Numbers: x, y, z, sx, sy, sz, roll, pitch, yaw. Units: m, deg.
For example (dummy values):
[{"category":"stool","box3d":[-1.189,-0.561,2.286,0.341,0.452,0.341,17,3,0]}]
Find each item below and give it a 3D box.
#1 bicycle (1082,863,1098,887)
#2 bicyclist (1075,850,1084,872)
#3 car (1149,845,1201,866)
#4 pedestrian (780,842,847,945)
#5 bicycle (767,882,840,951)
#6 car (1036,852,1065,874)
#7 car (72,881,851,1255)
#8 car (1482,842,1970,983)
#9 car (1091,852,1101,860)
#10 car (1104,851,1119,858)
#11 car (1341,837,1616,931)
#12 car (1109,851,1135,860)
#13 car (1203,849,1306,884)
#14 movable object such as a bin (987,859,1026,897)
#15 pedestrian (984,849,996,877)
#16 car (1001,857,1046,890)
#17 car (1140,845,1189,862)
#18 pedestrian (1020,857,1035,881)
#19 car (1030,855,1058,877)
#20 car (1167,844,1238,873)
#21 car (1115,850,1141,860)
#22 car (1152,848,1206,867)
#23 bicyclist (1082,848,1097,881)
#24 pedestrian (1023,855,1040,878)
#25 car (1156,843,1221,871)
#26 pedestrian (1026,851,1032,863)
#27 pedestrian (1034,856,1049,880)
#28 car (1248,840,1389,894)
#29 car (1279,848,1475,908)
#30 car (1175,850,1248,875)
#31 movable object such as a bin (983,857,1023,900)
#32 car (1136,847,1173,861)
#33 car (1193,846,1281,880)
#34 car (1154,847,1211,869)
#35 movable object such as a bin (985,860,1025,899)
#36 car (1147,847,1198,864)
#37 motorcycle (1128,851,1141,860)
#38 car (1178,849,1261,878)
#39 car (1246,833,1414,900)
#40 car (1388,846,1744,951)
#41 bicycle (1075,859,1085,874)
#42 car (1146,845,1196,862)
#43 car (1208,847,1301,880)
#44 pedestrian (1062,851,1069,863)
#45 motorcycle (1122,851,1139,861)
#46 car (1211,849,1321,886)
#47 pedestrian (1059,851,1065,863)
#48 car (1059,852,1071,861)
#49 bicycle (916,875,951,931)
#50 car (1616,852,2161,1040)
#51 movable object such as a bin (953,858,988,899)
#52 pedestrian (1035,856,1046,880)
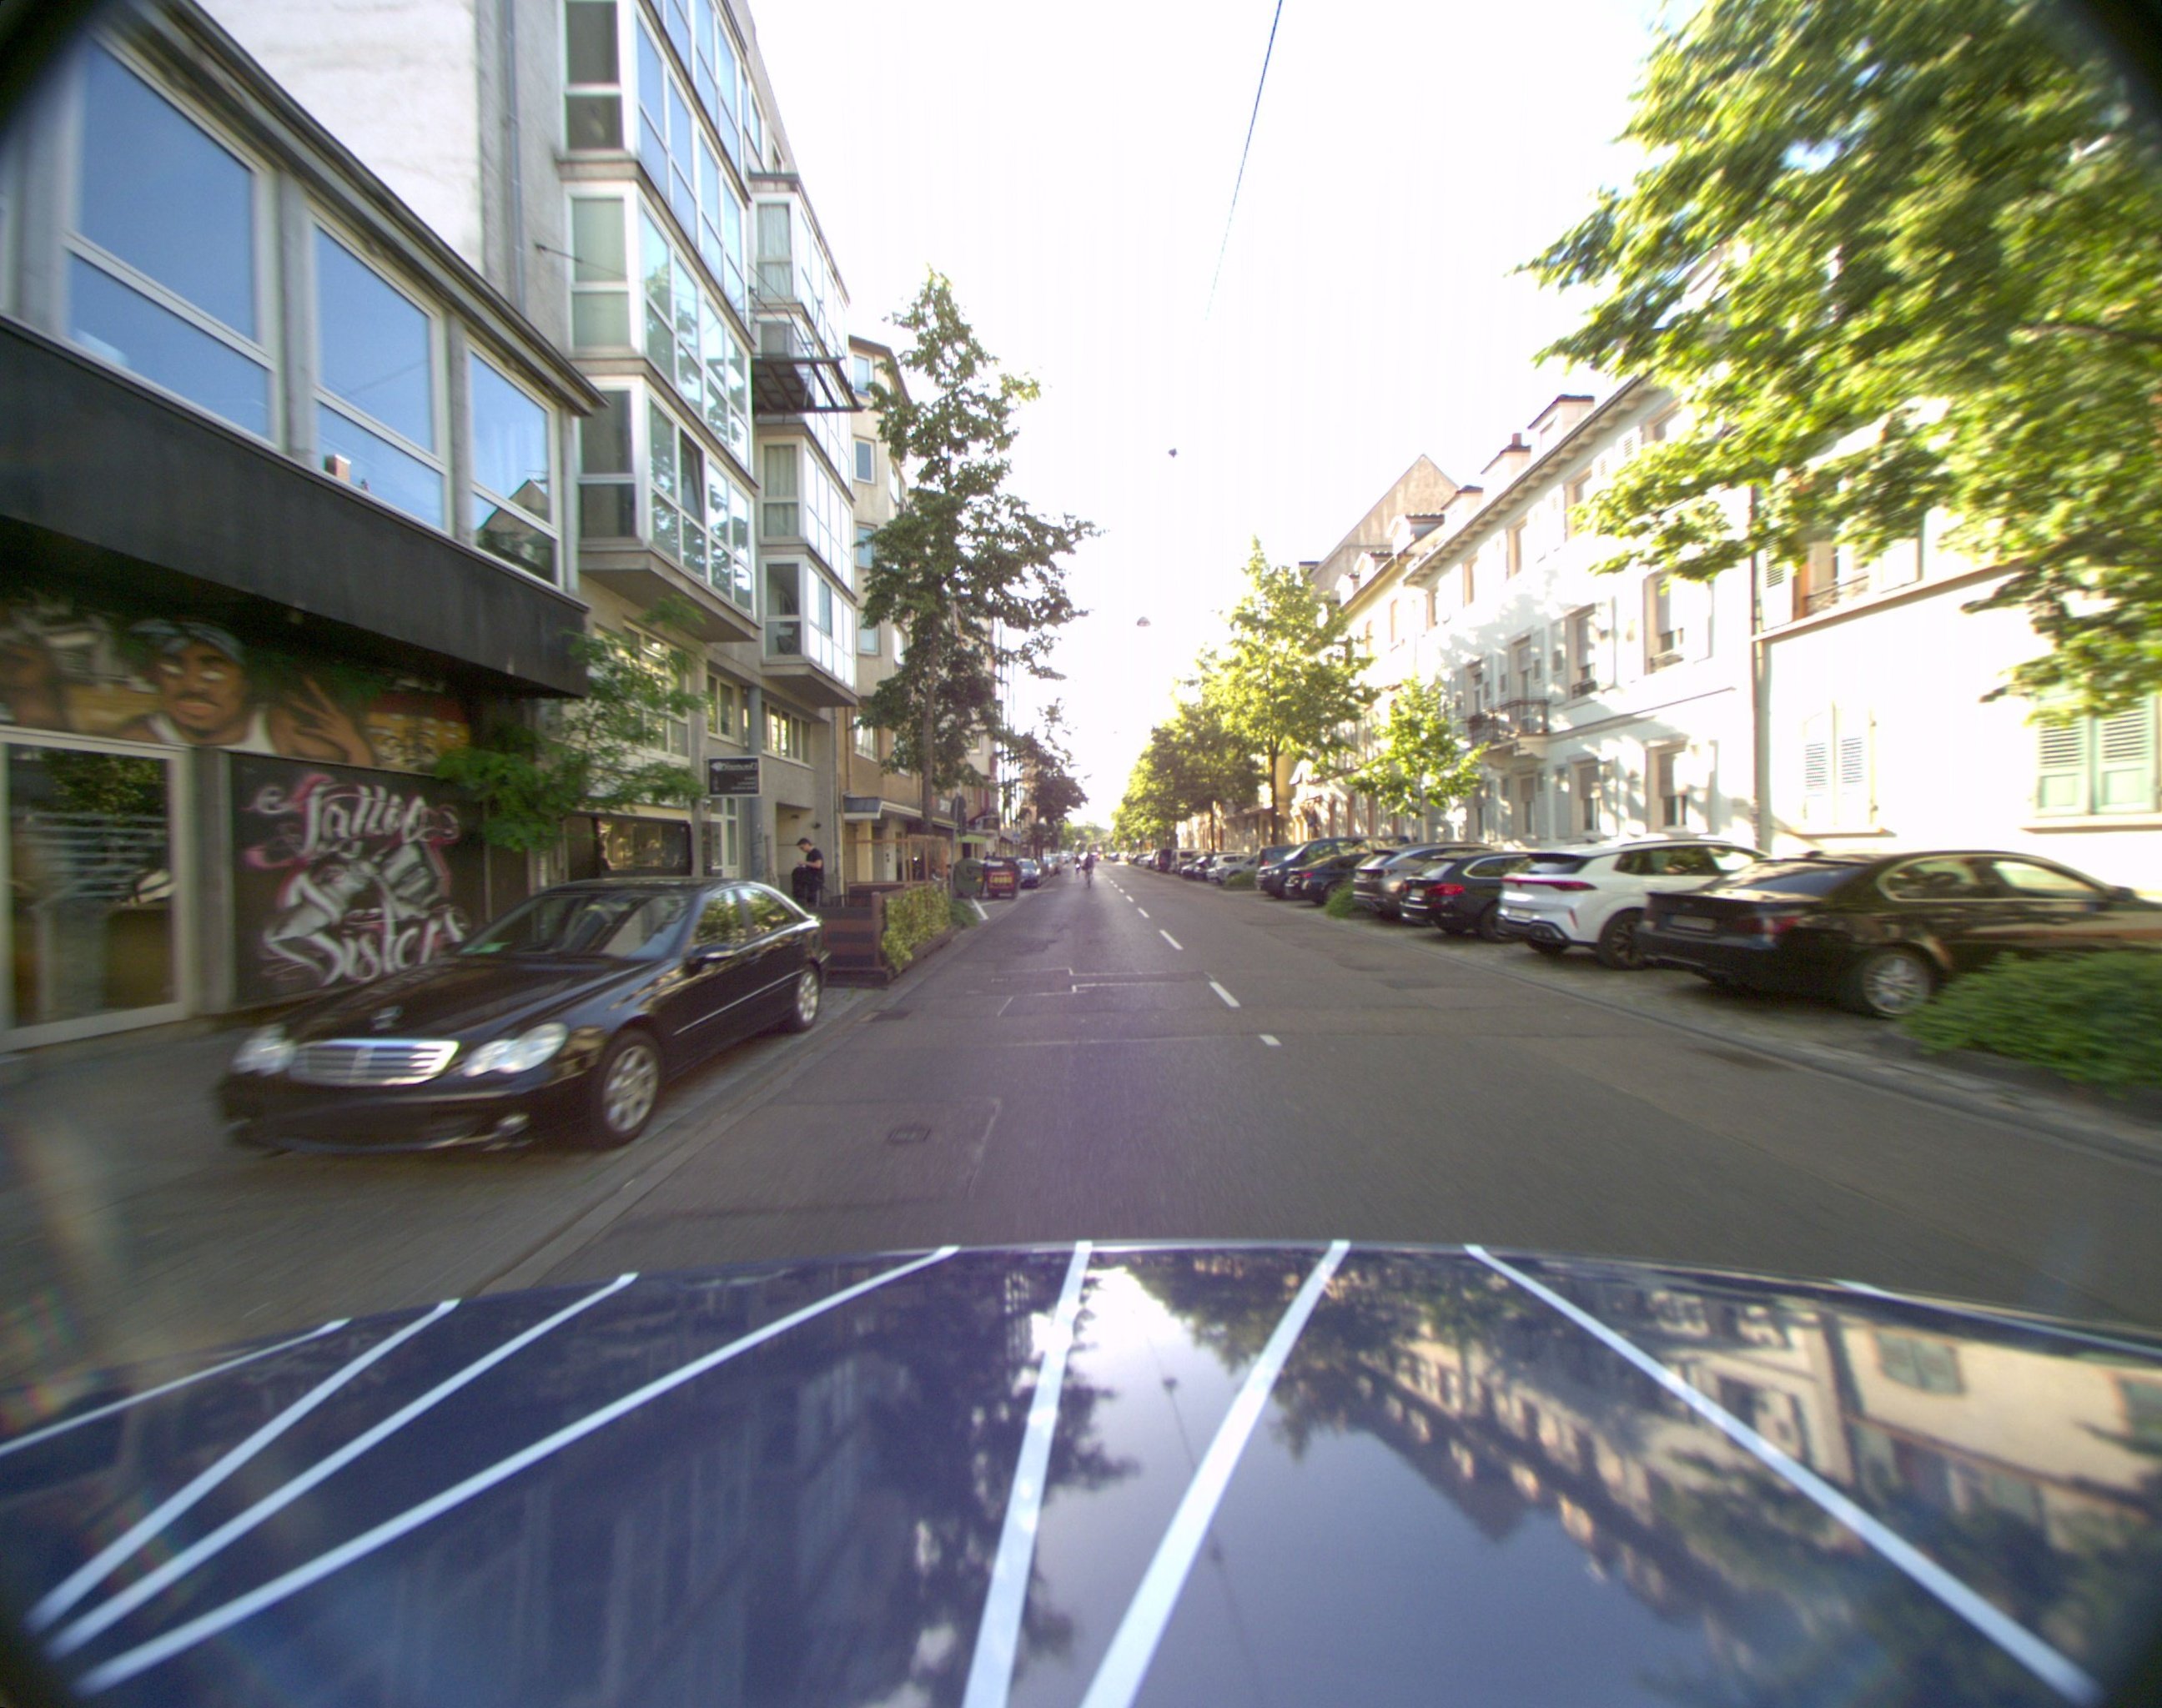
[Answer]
[{"category":"bicycle","box3d":[0.451,1.013,37.770,0.718,1.105,2.269,-1,1,1]},{"category":"bicyclist","box3d":[-0.106,0.502,56.500,0.658,1.562,0.909,-1,1,1]},{"category":"car","box3d":[8.597,0.098,69.593,4.352,1.813,1.929,-1,1,-6]},{"category":"pedestrian","box3d":[-5.192,0.740,14.761,0.925,1.924,0.762,0,1,26]},{"category":"bicycle","box3d":[-5.139,1.118,14.012,0.683,1.142,1.680,-1,1,-41]},{"category":"car","box3d":[-2.563,0.756,64.659,1.826,1.767,4.932,2,0,4]},{"category":"car","box3d":[-3.368,1.007,5.587,1.905,1.404,4.646,1,0,0]},{"category":"car","box3d":[8.008,0.688,9.802,4.691,1.563,1.808,-1,1,2]},{"category":"car","box3d":[2.906,0.351,146.029,1.915,1.536,4.352,-1,2,1]},{"category":"car","box3d":[6.219,0.083,153.890,1.771,1.421,4.005,-1,0,20]},{"category":"car","box3d":[7.989,0.569,15.534,4.693,1.702,1.807,-1,1,-2]},{"category":"car","box3d":[7.150,0.221,132.835,4.006,1.433,1.995,-2,1,-31]},{"category":"car","box3d":[8.278,0.583,36.482,4.477,1.532,1.916,-1,1,0]},{"category":"movable object such as a bin","box3d":[-2.948,0.937,30.314,1.402,1.445,1.146,0,0,1]},{"category":"pedestrian","box3d":[-5.675,0.555,47.498,0.630,1.686,0.504,0,1,3]},{"category":"car","box3d":[-2.879,0.950,38.875,1.826,1.463,4.911,2,0,1]},{"category":"car","box3d":[8.670,-0.071,79.185,4.713,1.484,1.999,-2,2,-4]},{"category":"pedestrian","box3d":[-3.374,0.928,47.659,0.712,1.527,0.770,0,1,15]},{"category":"car","box3d":[-2.815,0.886,58.299,1.826,1.587,4.841,2,0,1]},{"category":"car","box3d":[8.262,0.266,51.799,4.354,1.823,1.915,-1,1,-9]},{"category":"car","box3d":[8.041,0.160,130.612,4.006,1.553,1.995,-2,1,-31]},{"category":"car","box3d":[8.624,0.269,67.111,4.353,1.535,1.915,-1,1,-7]},{"category":"bicyclist","box3d":[0.422,0.503,37.258,0.718,1.553,0.864,-1,1,1]},{"category":"pedestrian","box3d":[-3.369,0.866,51.891,1.058,1.527,0.892,0,1,5]},{"category":"car","box3d":[7.993,0.210,56.831,4.584,1.915,1.930,-1,1,3]},{"category":"pedestrian","box3d":[-7.358,0.418,107.384,0.618,1.683,0.717,-1,2,28]},{"category":"pedestrian","box3d":[-2.525,0.890,48.859,0.750,1.527,0.808,0,1,15]},{"category":"car","box3d":[8.462,0.454,27.334,4.477,1.762,1.917,-1,1,2]},{"category":"car","box3d":[7.939,0.624,20.660,4.657,1.451,1.683,-1,1,0]},{"category":"car","box3d":[8.351,0.532,48.953,4.351,1.430,1.916,-1,1,-1]},{"category":"movable object such as a bin","box3d":[-2.853,0.880,27.985,1.334,1.533,1.146,0,1,1]},{"category":"car","box3d":[8.855,0.020,91.814,4.349,1.535,1.944,-1,1,2]},{"category":"car","box3d":[8.359,0.472,40.962,4.350,1.699,1.916,-1,1,0]},{"category":"car","box3d":[8.245,0.314,62.040,4.351,1.723,1.916,-1,1,-1]},{"category":"movable object such as a bin","box3d":[-2.889,0.951,29.151,1.402,1.445,1.146,0,0,1]},{"category":"car","box3d":[8.634,0.121,72.029,4.354,1.535,1.962,-1,1,-11]},{"category":"motorcycle","box3d":[8.172,0.213,115.969,1.750,1.415,0.831,-1,1,27]},{"category":"car","box3d":[7.876,0.532,43.545,4.476,1.532,1.917,-1,1,3]},{"category":"car","box3d":[7.789,0.390,24.122,4.691,1.939,1.917,-1,1,2]},{"category":"car","box3d":[7.812,0.681,12.594,4.691,1.510,1.808,-1,1,2]},{"category":"bicycle","box3d":[-0.090,0.923,56.441,0.666,1.061,1.836,-1,1,1]},{"category":"car","box3d":[9.052,-0.028,76.695,4.713,1.483,1.999,-2,0,-4]},{"category":"car","box3d":[8.831,0.475,38.946,4.350,1.573,1.809,-1,1,0]},{"category":"pedestrian","box3d":[-2.264,0.403,108.965,0.693,1.709,0.896,2,1,25]},{"category":"motorcycle","box3d":[7.505,0.273,115.163,2.316,1.415,1.002,-1,1,28]},{"category":"car","box3d":[8.178,0.590,33.898,4.476,1.532,1.917,-1,1,4]},{"category":"pedestrian","box3d":[-2.710,0.388,109.508,0.699,1.709,0.693,1,1,-22]},{"category":"car","box3d":[-2.700,0.433,130.160,1.998,1.565,4.000,1,0,1]},{"category":"bicycle","box3d":[-3.427,1.109,17.787,0.609,1.114,2.054,6,-1,-9]},{"category":"car","box3d":[8.032,0.763,7.139,4.691,1.454,1.808,-1,1,2]},{"category":"movable object such as a bin","box3d":[-4.034,0.885,27.868,1.080,1.423,1.295,0,0,1]},{"category":"pedestrian","box3d":[-2.525,0.865,47.621,0.652,1.527,0.980,0,1,-1]}]
